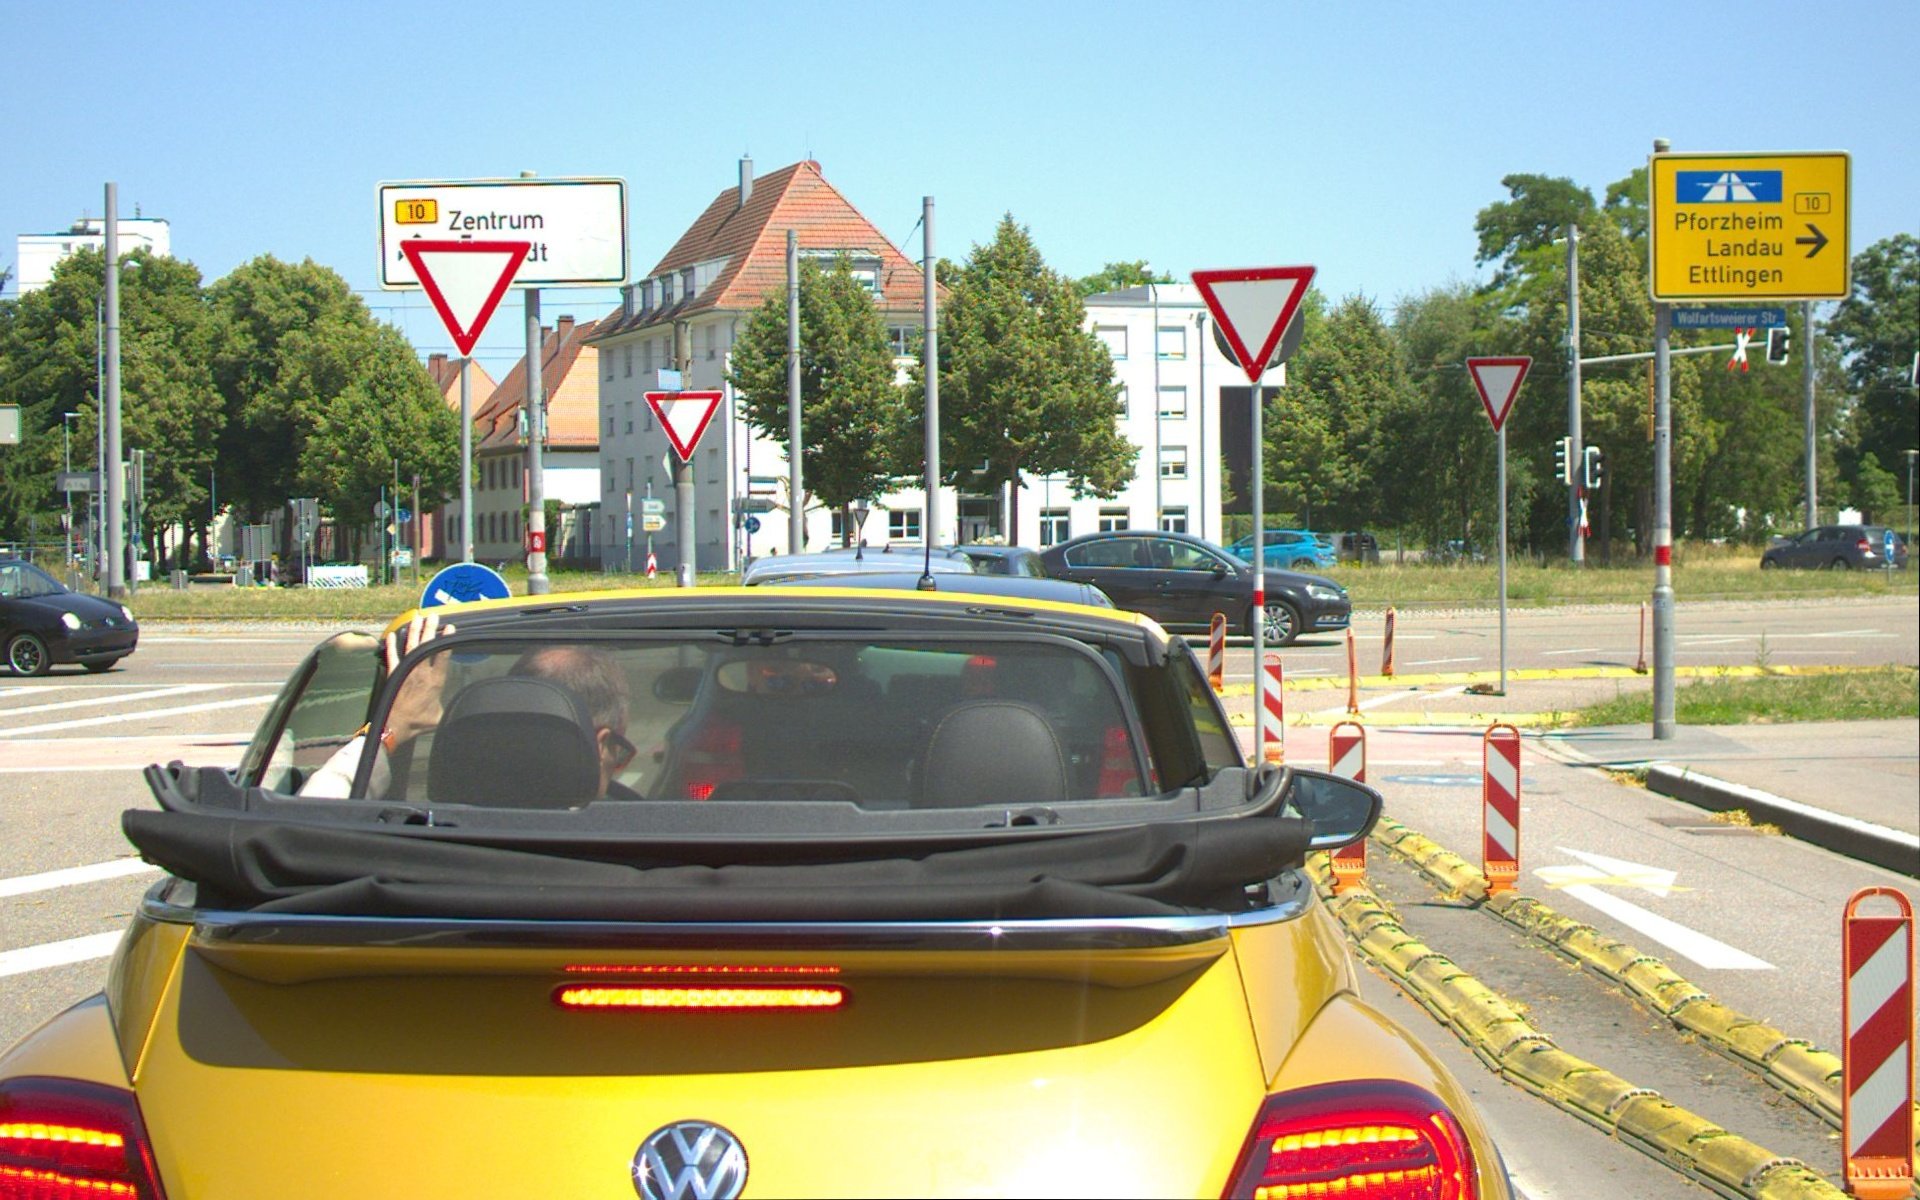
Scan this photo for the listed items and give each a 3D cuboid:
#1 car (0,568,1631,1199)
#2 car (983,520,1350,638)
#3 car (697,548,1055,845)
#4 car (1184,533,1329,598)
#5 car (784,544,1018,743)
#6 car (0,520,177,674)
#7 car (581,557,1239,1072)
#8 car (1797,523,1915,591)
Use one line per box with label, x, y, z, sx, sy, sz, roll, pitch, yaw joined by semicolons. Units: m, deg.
car;-0.323;0.676;4.871;1.752;1.417;3.778;0;1;-1
car;2.657;-0.278;43.718;4.519;1.442;1.822;0;1;8
car;-0.428;0.441;18.689;1.736;1.437;4.000;0;1;-1
car;8.598;-1.005;99.492;3.989;1.831;1.999;0;1;10
car;-0.456;0.292;27.490;1.736;1.472;4.000;0;1;-1
car;-11.860;-0.062;42.030;3.990;1.809;1.998;0;1;17
car;-0.161;0.579;11.676;1.848;1.437;4.000;0;1;-1
car;21.691;-1.045;83.343;1.645;1.601;3.229;0;1;-8
